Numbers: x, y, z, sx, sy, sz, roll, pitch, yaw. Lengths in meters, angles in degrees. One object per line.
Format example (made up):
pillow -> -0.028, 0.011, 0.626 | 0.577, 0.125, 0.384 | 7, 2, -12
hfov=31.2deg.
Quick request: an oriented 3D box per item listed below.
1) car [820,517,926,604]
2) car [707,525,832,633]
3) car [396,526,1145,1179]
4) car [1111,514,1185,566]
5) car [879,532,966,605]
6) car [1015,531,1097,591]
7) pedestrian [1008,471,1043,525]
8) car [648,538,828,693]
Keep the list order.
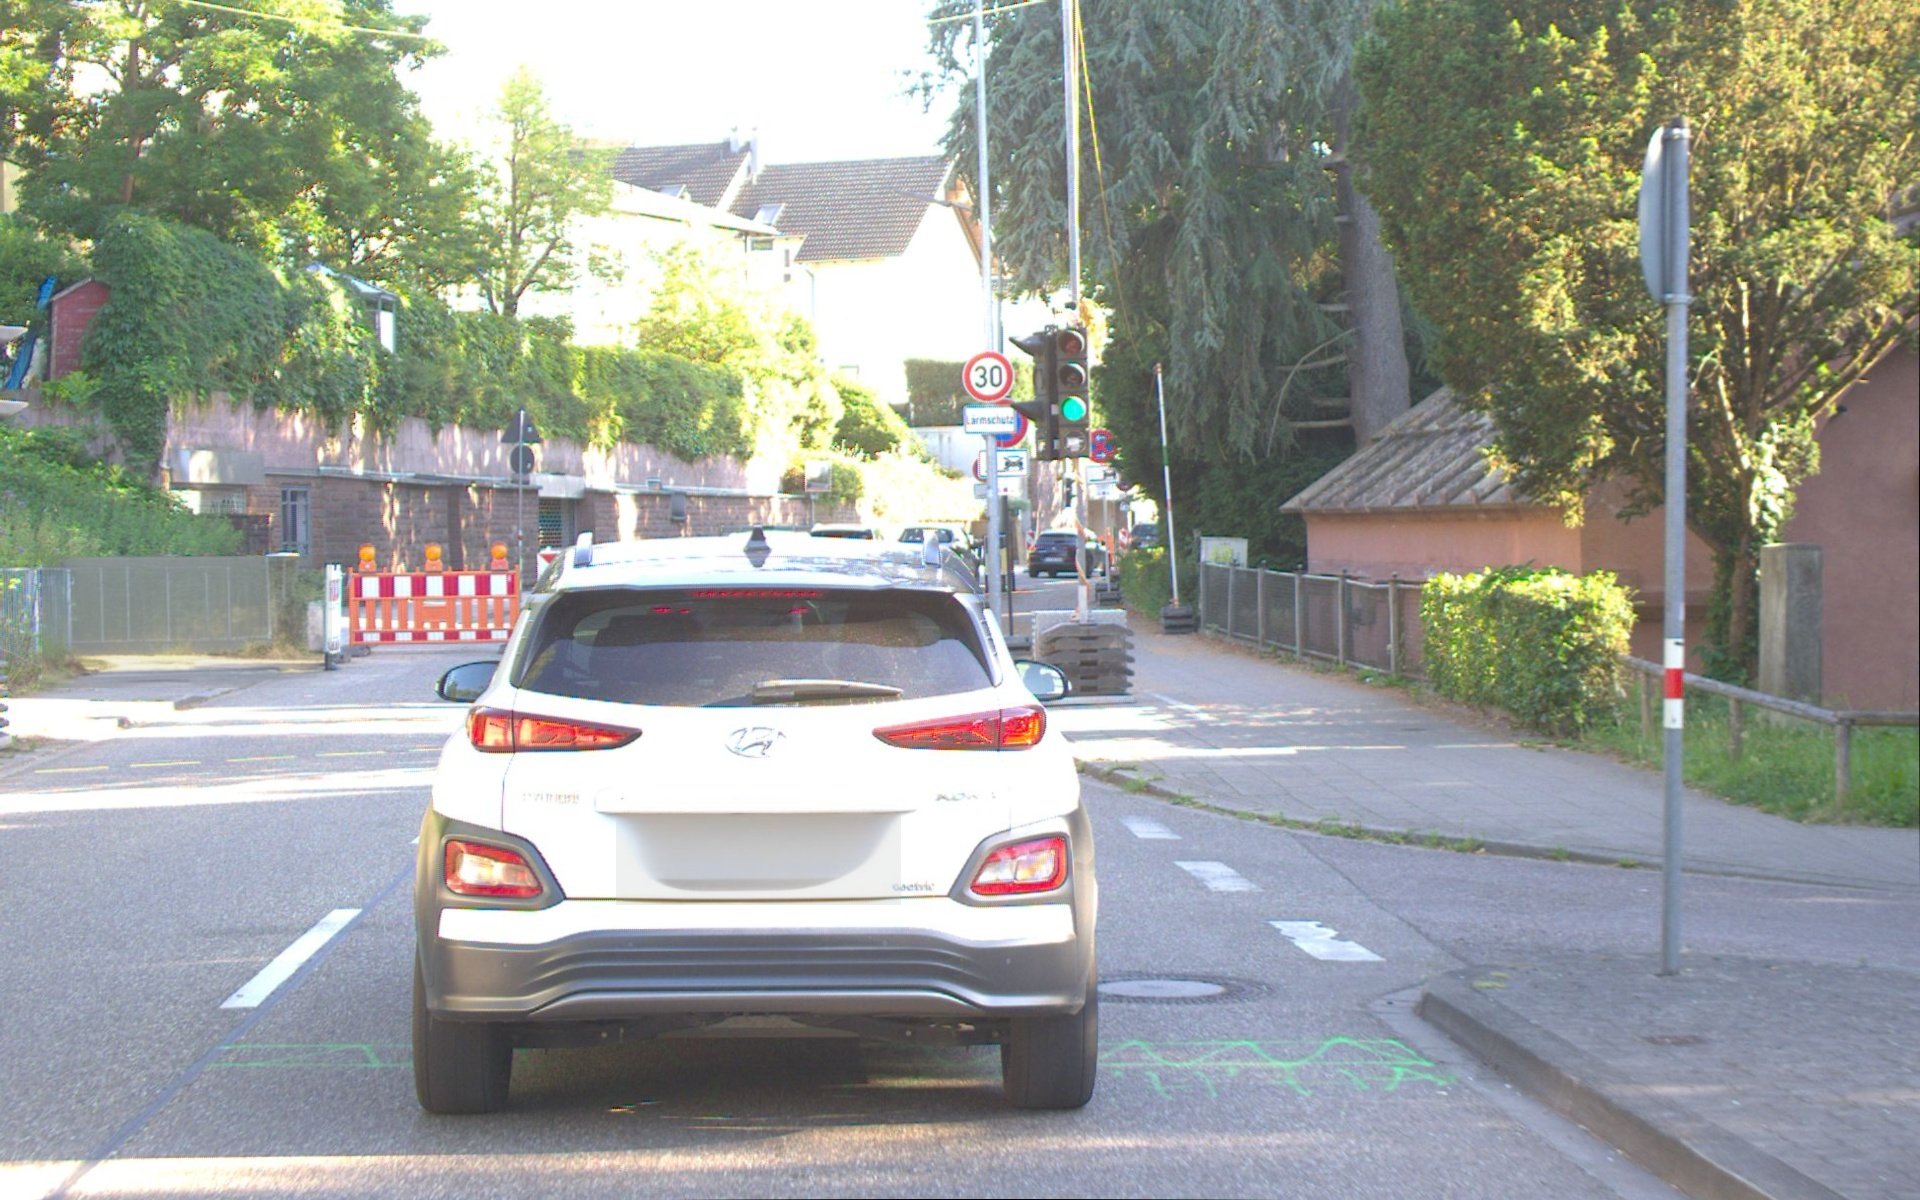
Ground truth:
car -> -1.739, -0.829, 69.754 | 1.832, 1.656, 4.000 | 1, 1, 2
car -> -2.904, -0.358, 52.606 | 1.805, 1.532, 4.001 | 1, 1, -3
car -> -0.694, 0.592, 10.480 | 1.820, 1.568, 4.001 | 1, 1, -7
car -> 6.261, -2.007, 114.308 | 1.832, 1.656, 3.998 | 1, 1, 12
car -> -0.900, -0.805, 84.589 | 1.832, 1.735, 4.000 | 0, 1, 4
car -> 2.837, -1.161, 100.700 | 1.832, 1.656, 3.999 | 1, 1, 9
pedestrian -> 2.317, -3.597, 121.473 | 1.080, 1.905, 0.840 | 1, 1, 14
car -> -2.296, 0.116, 35.574 | 1.707, 1.429, 4.366 | 1, 1, -4
